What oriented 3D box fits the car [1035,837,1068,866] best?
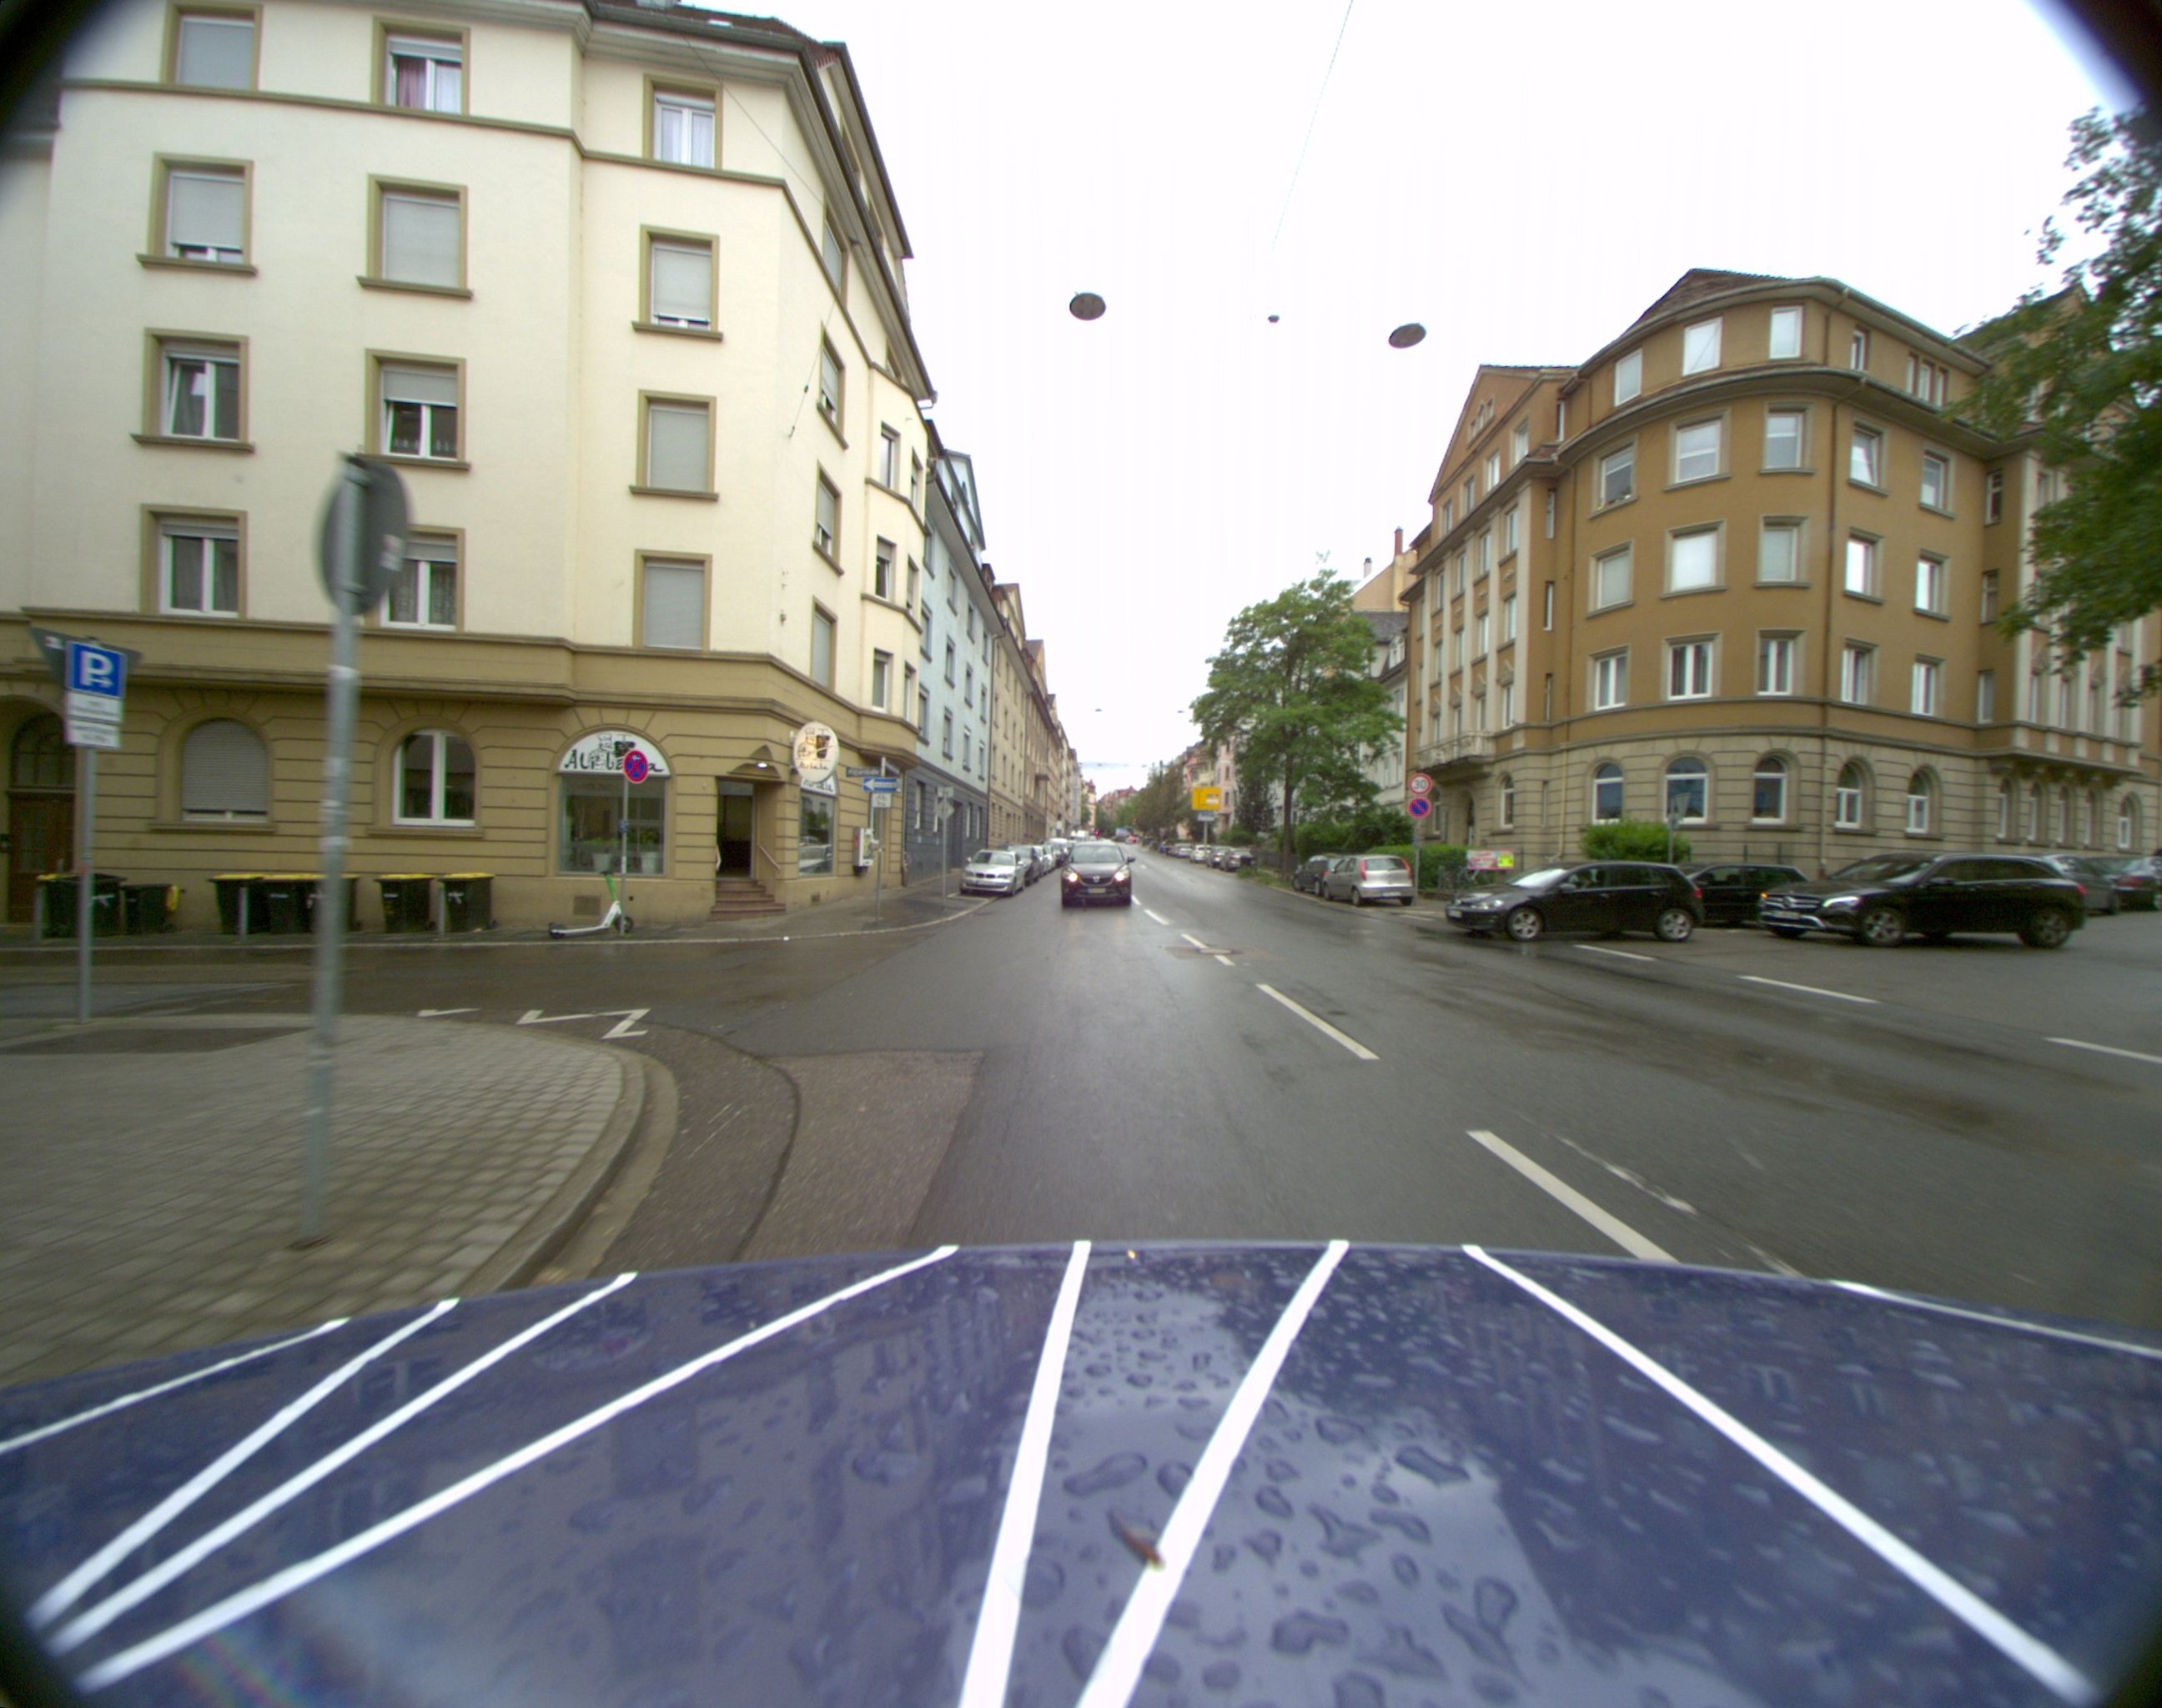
[{"bbox_3d":[-1.833,-0.189,48.418,1.845,1.612,4.207,2,2,1],"label":"car"}]

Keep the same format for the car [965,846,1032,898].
[{"bbox_3d":[-2.664,0.519,25.321,1.573,1.456,4.088,3,2,2],"label":"car"}]

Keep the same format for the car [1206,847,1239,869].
[{"bbox_3d":[9.700,0.259,52.317,1.686,1.382,3.909,0,1,3],"label":"car"}]

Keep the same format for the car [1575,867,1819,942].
[{"bbox_3d":[13.461,1.066,16.819,3.824,1.382,1.742,1,3,4],"label":"car"}]

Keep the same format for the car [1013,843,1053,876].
[{"bbox_3d":[-2.313,0.217,37.375,1.587,1.421,3.594,4,2,2],"label":"car"}]

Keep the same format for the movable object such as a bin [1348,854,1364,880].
[{"bbox_3d":[11.712,0.549,32.409,0.440,1.075,0.589,1,2,1],"label":"movable object such as a bin"}]

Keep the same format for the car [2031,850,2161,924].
[{"bbox_3d":[29.021,0.858,21.195,4.003,1.718,1.845,-3,3,-18],"label":"car"}]

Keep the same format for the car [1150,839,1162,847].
[{"bbox_3d":[13.140,-1.941,133.170,1.685,1.410,4.137,2,2,2],"label":"car"}]

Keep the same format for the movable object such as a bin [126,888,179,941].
[{"bbox_3d":[-16.401,1.063,13.425,0.337,0.886,0.424,-2,3,-4],"label":"movable object such as a bin"}]

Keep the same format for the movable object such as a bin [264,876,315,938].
[{"bbox_3d":[-14.133,0.937,13.569,0.348,1.040,0.460,-2,3,-4],"label":"movable object such as a bin"}]

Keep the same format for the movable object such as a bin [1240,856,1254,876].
[{"bbox_3d":[9.092,0.650,41.644,0.631,1.052,0.600,1,3,2],"label":"movable object such as a bin"}]

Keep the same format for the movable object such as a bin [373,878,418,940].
[{"bbox_3d":[-12.331,0.975,13.672,0.349,1.060,0.442,-2,3,-8],"label":"movable object such as a bin"}]

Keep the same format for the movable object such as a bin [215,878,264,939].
[{"bbox_3d":[-14.893,0.959,13.451,0.387,1.040,0.337,-2,3,-4],"label":"movable object such as a bin"}]

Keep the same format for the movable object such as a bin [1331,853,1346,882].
[{"bbox_3d":[11.747,0.598,34.635,0.440,1.301,0.609,1,2,1],"label":"movable object such as a bin"}]

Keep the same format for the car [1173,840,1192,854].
[{"bbox_3d":[11.099,-0.756,83.382,1.604,1.389,3.886,1,3,1],"label":"car"}]

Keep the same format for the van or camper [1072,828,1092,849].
[{"bbox_3d":[0.185,-2.056,100.743,2.189,2.684,6.420,2,2,4],"label":"van or camper"}]

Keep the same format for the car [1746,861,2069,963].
[{"bbox_3d":[14.678,0.992,13.679,3.818,1.573,1.692,1,3,2],"label":"car"}]

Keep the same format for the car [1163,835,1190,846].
[{"bbox_3d":[17.459,-2.502,138.718,4.731,1.894,1.918,0,3,0],"label":"car"}]

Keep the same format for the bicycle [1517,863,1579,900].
[{"bbox_3d":[13.454,0.778,21.880,1.708,1.005,0.804,1,1,-32],"label":"bicycle"}]

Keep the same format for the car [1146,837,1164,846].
[{"bbox_3d":[17.789,-3.022,182.718,3.929,1.837,1.866,2,3,0],"label":"car"}]

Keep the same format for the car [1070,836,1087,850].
[{"bbox_3d":[-0.245,-1.303,87.333,1.782,1.471,4.586,1,2,2],"label":"car"}]

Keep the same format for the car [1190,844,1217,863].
[{"bbox_3d":[10.058,-0.062,62.622,1.650,1.499,3.795,1,2,1],"label":"car"}]

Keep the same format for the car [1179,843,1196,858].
[{"bbox_3d":[11.003,-0.367,78.526,1.604,1.443,3.888,0,1,6],"label":"car"}]

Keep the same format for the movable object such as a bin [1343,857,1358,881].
[{"bbox_3d":[11.724,0.653,33.079,0.427,1.035,0.650,1,2,1],"label":"movable object such as a bin"}]

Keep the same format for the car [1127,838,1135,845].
[{"bbox_3d":[12.677,-3.133,193.140,1.771,1.540,3.651,0,3,2],"label":"car"}]

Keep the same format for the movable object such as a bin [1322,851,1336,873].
[{"bbox_3d":[11.819,0.369,36.221,0.440,1.034,0.650,1,2,1],"label":"movable object such as a bin"}]

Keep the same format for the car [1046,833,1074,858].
[{"bbox_3d":[-1.605,-0.680,59.185,1.795,1.807,4.079,3,2,2],"label":"car"}]

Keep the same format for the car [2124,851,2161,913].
[{"bbox_3d":[33.683,0.798,22.685,4.003,1.718,1.845,-3,3,-18],"label":"car"}]

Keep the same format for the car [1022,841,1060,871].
[{"bbox_3d":[-2.174,0.082,42.152,1.733,1.421,3.973,4,2,2],"label":"car"}]

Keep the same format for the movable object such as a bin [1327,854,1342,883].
[{"bbox_3d":[11.784,0.670,35.339,0.440,1.301,0.650,1,2,1],"label":"movable object such as a bin"}]

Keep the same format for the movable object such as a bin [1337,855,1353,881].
[{"bbox_3d":[11.770,0.621,33.854,0.440,1.124,0.657,1,2,1],"label":"movable object such as a bin"}]

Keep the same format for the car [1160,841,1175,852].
[{"bbox_3d":[11.859,-1.051,104.341,1.683,1.378,4.601,1,3,2],"label":"car"}]

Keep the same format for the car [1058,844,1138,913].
[{"bbox_3d":[0.424,0.568,20.157,1.889,1.543,3.998,0,3,0],"label":"car"}]

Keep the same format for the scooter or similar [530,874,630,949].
[{"bbox_3d":[-8.805,0.983,13.386,1.379,1.123,0.465,-4,8,-40],"label":"scooter or similar"}]

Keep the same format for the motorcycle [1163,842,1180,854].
[{"bbox_3d":[10.469,-0.726,88.043,1.805,1.307,0.743,3,3,43],"label":"motorcycle"}]

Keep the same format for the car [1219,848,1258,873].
[{"bbox_3d":[9.591,0.389,46.489,1.686,1.382,3.935,0,2,3],"label":"car"}]

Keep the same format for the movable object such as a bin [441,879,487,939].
[{"bbox_3d":[-11.231,0.997,13.833,0.343,1.039,0.525,-2,1,2],"label":"movable object such as a bin"}]

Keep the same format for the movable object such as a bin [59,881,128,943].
[{"bbox_3d":[-16.799,0.976,12.935,0.448,0.990,0.503,0,3,5],"label":"movable object such as a bin"}]

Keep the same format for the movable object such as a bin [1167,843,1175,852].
[{"bbox_3d":[10.788,-0.805,91.122,0.826,1.052,0.483,-2,3,3],"label":"movable object such as a bin"}]

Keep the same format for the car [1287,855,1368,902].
[{"bbox_3d":[8.880,0.833,27.679,1.658,1.446,3.941,1,2,0],"label":"car"}]

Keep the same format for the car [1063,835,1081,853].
[{"bbox_3d":[-0.845,-1.022,76.735,1.636,1.629,4.193,4,2,0],"label":"car"}]

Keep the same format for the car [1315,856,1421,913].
[{"bbox_3d":[8.508,0.847,22.885,1.636,1.446,3.838,1,2,-2],"label":"car"}]

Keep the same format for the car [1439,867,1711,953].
[{"bbox_3d":[8.897,0.985,13.945,3.825,1.382,1.742,0,3,1],"label":"car"}]

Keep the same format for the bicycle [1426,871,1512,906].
[{"bbox_3d":[12.239,1.086,24.015,2.349,1.040,0.806,1,2,-7],"label":"bicycle"}]

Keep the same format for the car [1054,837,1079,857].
[{"bbox_3d":[-1.179,-0.645,64.347,1.794,1.539,4.225,3,2,3],"label":"car"}]

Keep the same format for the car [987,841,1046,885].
[{"bbox_3d":[-2.552,0.319,31.094,1.822,1.549,4.292,3,2,2],"label":"car"}]

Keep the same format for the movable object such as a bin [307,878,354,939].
[{"bbox_3d":[-13.499,0.968,13.675,0.349,1.040,0.460,0,3,-7],"label":"movable object such as a bin"}]
